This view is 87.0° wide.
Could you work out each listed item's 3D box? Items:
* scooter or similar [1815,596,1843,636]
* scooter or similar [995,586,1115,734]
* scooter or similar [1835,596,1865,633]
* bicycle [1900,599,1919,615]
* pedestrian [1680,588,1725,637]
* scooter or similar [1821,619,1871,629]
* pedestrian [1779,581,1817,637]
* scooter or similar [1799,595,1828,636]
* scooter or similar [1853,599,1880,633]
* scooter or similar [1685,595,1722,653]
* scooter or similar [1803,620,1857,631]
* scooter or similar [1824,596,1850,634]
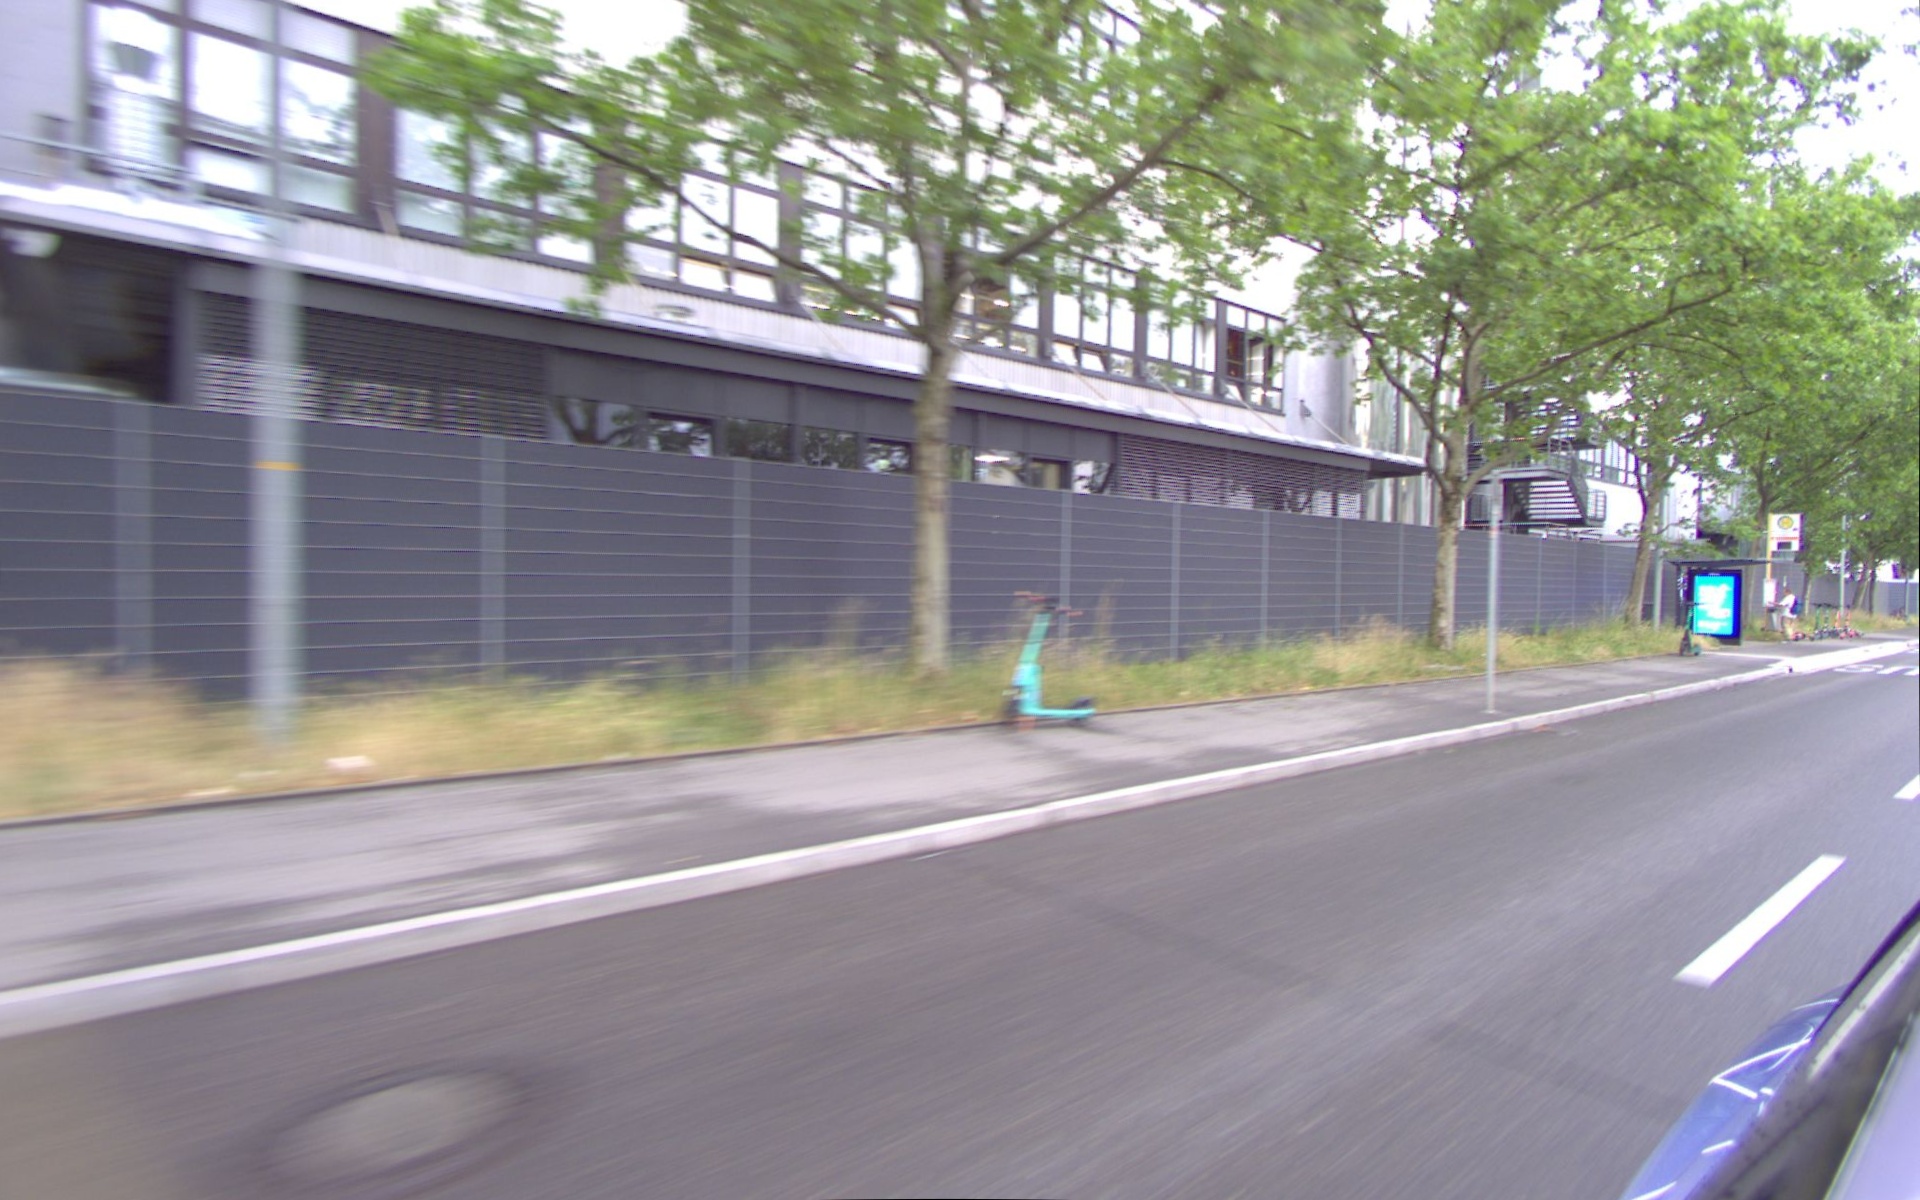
[{"bbox_3d":[29.355,0.520,34.184,1.276,1.311,0.437,0,1,-38],"label":"scooter or similar"},{"bbox_3d":[0.875,0.520,9.223,1.087,1.285,0.330,0,1,-32],"label":"scooter or similar"},{"bbox_3d":[32.390,0.519,36.825,1.340,1.311,0.437,0,1,-34],"label":"scooter or similar"},{"bbox_3d":[55.386,0.393,58.998,1.872,0.886,0.726,-1,1,-42],"label":"bicycle"},{"bbox_3d":[22.324,0.354,30.429,0.686,1.433,0.932,0,1,-41],"label":"pedestrian"},{"bbox_3d":[35.621,0.948,40.705,1.168,0.314,1.194,2,2,21],"label":"scooter or similar"},{"bbox_3d":[26.394,0.272,31.880,0.717,1.731,0.777,0,1,-41],"label":"pedestrian"},{"bbox_3d":[28.107,0.490,33.329,1.276,1.311,0.437,0,1,-38],"label":"scooter or similar"},{"bbox_3d":[35.250,0.611,39.362,1.275,1.301,0.437,0,1,-34],"label":"scooter or similar"},{"bbox_3d":[17.380,0.547,23.648,1.222,1.325,0.329,0,1,-36],"label":"scooter or similar"},{"bbox_3d":[33.576,0.995,39.061,1.231,0.349,1.104,1,2,-17],"label":"scooter or similar"},{"bbox_3d":[30.906,0.518,35.670,1.276,1.311,0.437,0,1,-38],"label":"scooter or similar"}]
